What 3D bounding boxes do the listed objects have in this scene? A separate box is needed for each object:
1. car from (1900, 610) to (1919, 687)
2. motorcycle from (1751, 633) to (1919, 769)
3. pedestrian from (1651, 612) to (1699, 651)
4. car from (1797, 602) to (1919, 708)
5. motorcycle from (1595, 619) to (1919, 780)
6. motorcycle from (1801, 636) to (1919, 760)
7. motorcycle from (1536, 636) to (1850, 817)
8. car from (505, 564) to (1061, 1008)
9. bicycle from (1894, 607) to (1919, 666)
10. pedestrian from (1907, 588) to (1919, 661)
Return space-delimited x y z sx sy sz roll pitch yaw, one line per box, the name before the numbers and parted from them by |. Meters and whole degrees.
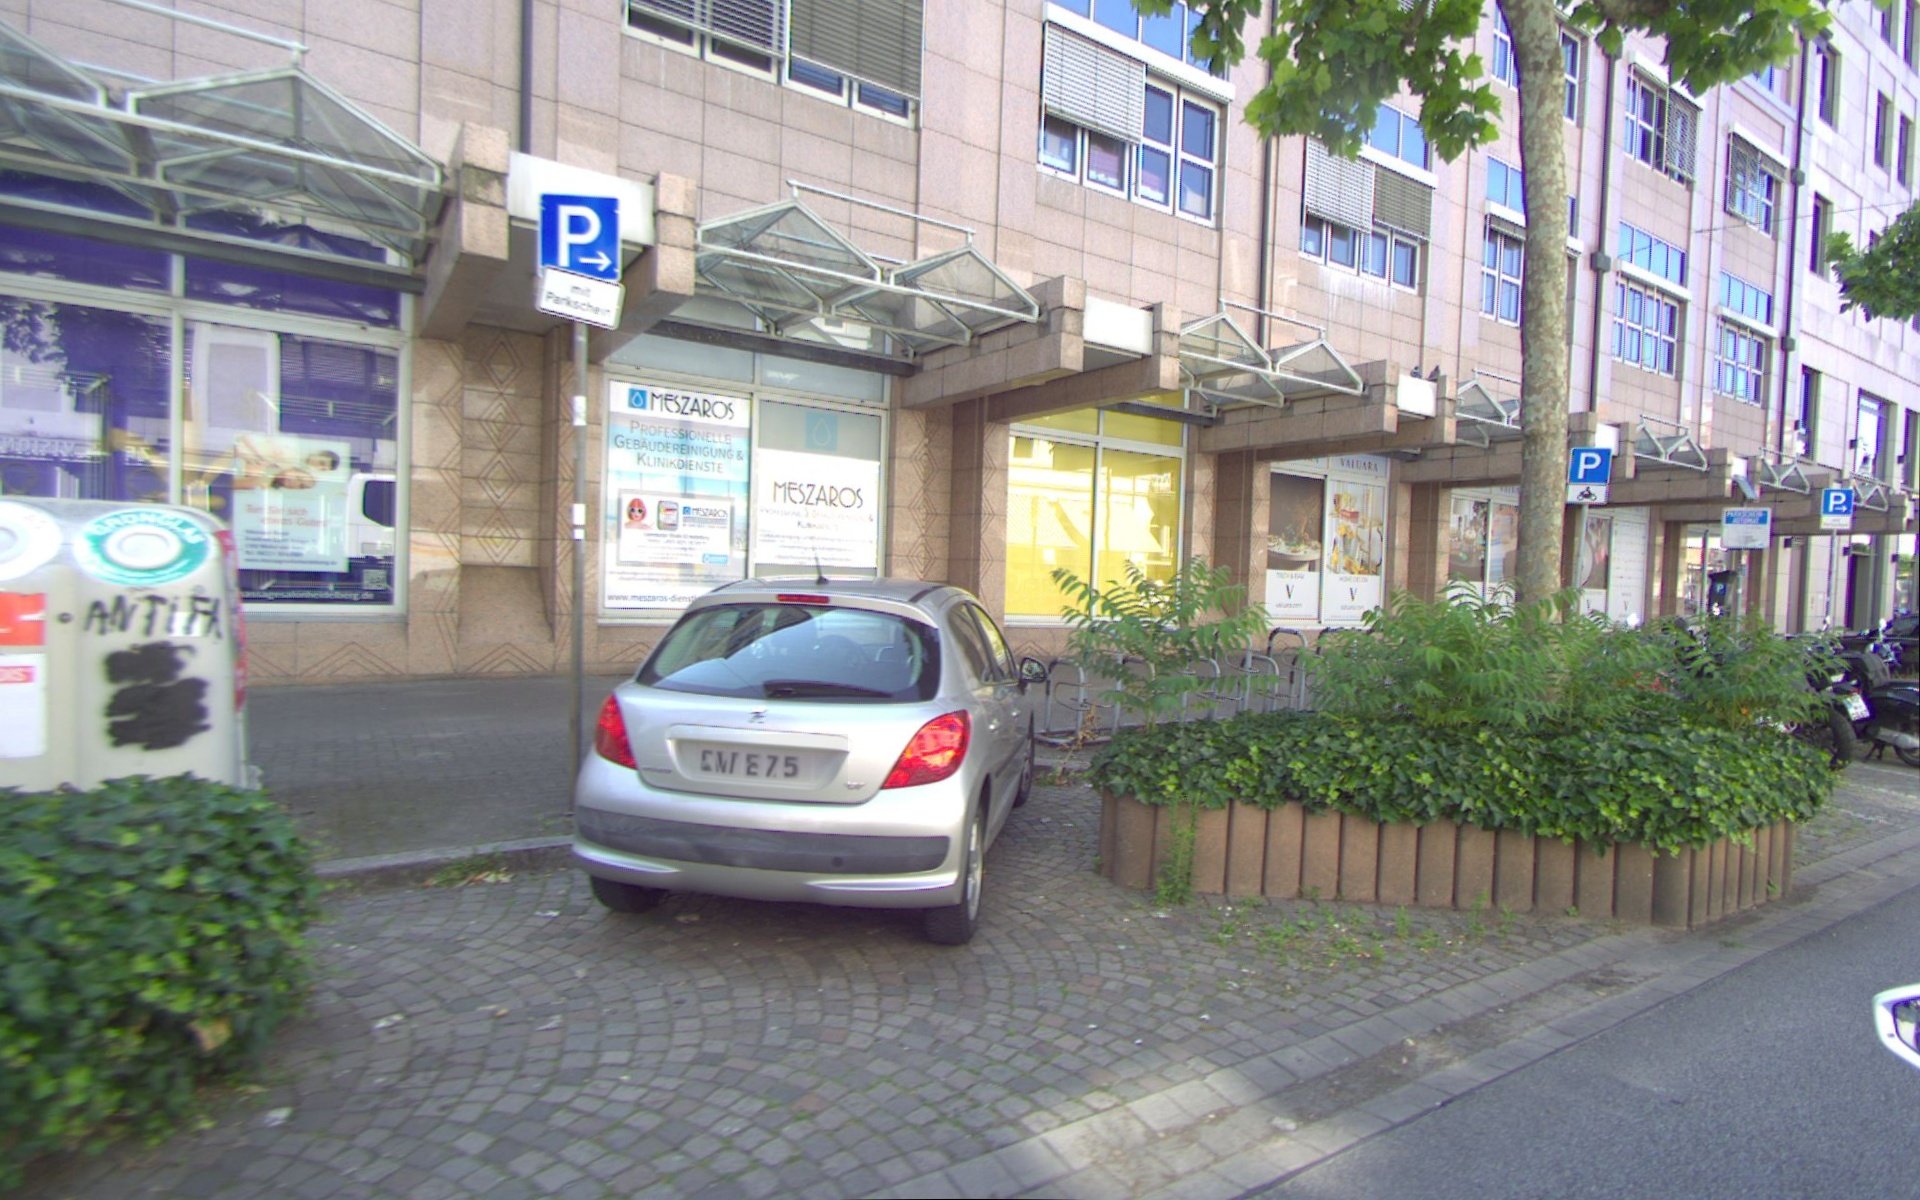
car | 18.800 1.045 16.870 1.845 1.442 4.798 2 3 7
motorcycle | 9.428 1.007 10.377 0.716 1.185 1.911 1 2 -12
pedestrian | 16.458 0.729 23.122 0.766 0.820 0.562 1 6 -33
car | 15.956 0.923 15.891 1.950 1.554 4.759 2 2 9
motorcycle | 7.917 0.915 10.098 1.271 1.285 2.347 1 2 -12
motorcycle | 10.145 1.046 10.548 0.747 1.185 1.911 1 2 -12
motorcycle | 6.073 0.983 8.550 0.903 1.185 2.177 2 2 -5
car | -0.484 0.588 5.658 1.896 1.515 4.059 2 2 8
bicycle | 22.617 0.908 22.738 0.364 1.306 2.047 1 4 -40
pedestrian | 22.498 0.579 23.365 0.631 1.679 0.561 0 2 -39
